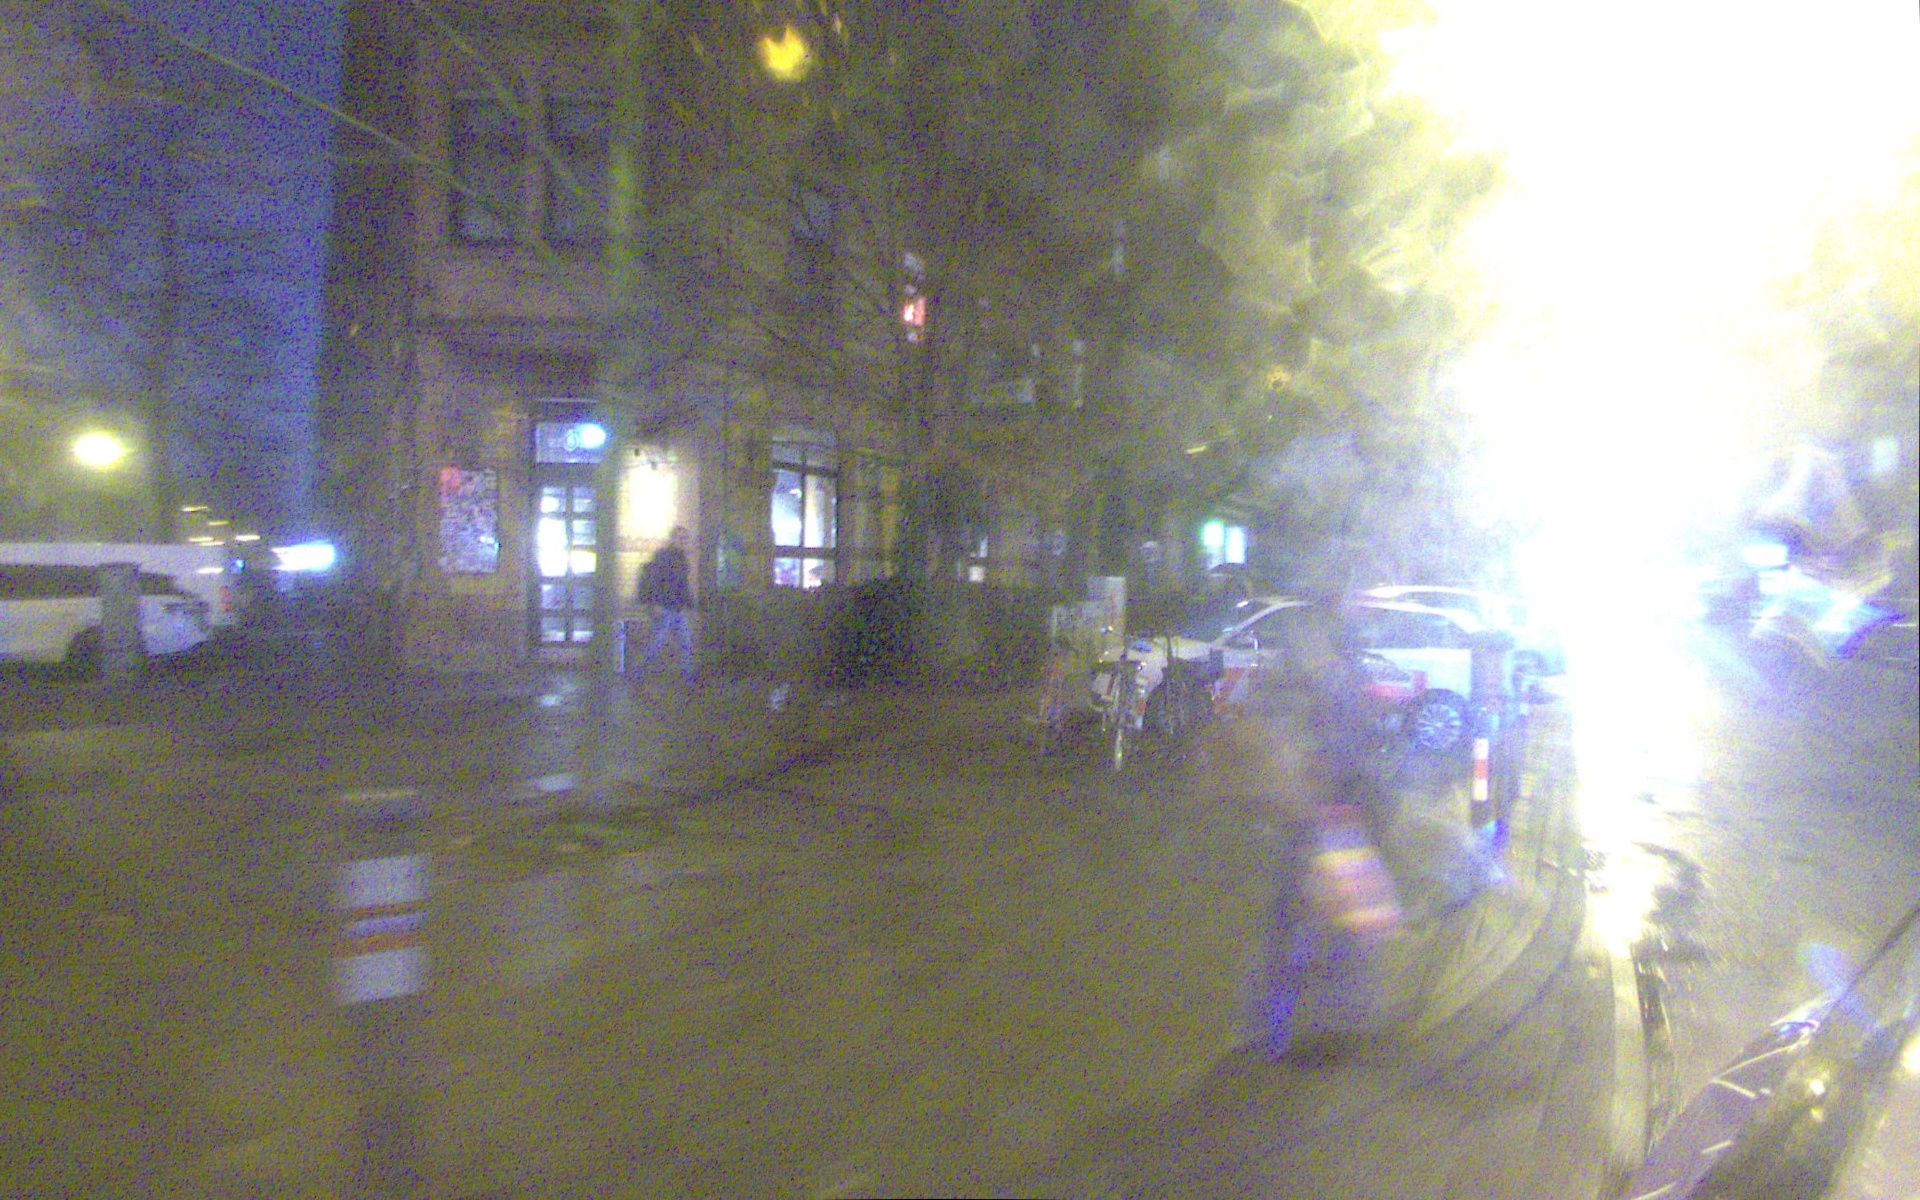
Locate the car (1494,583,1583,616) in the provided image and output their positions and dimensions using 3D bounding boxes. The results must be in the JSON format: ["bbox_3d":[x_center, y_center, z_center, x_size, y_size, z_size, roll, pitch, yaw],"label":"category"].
[{"bbox_3d":[32.044,-0.044,56.159,3.870,1.581,1.707,3,2,9],"label":"car"}]

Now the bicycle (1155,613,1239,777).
[{"bbox_3d":[1.866,0.698,8.127,0.330,1.038,1.647,0,4,2],"label":"bicycle"}]

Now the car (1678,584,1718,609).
[{"bbox_3d":[48.646,-0.210,66.752,1.838,1.600,3.693,-1,0,32],"label":"car"}]

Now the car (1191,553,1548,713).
[{"bbox_3d":[5.007,0.363,12.742,3.667,1.733,1.773,2,1,-2],"label":"car"}]

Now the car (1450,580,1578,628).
[{"bbox_3d":[21.286,0.119,39.029,3.871,1.639,1.706,3,2,11],"label":"car"}]

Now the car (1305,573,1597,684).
[{"bbox_3d":[8.228,0.432,17.285,4.000,1.617,1.832,2,2,5],"label":"car"}]

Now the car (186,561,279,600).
[{"bbox_3d":[-39.437,-1.035,54.968,3.921,2.039,2.002,0,0,-31],"label":"car"}]

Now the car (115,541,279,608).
[{"bbox_3d":[-24.410,-0.806,32.572,3.920,2.039,2.002,-1,0,-29],"label":"car"}]

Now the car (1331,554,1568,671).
[{"bbox_3d":[9.453,0.212,19.734,3.667,2.053,1.723,2,1,-3],"label":"car"}]

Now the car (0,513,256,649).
[{"bbox_3d":[-13.832,-0.272,15.106,5.442,1.914,2.000,0,0,-35],"label":"car"}]

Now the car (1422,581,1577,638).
[{"bbox_3d":[16.943,0.268,31.900,3.858,1.569,1.744,2,2,-1],"label":"car"}]

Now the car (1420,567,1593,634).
[{"bbox_3d":[18.376,-0.015,34.224,4.626,2.004,1.978,2,1,3],"label":"car"}]

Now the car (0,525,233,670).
[{"bbox_3d":[-12.529,-0.033,13.108,5.000,1.785,2.000,0,0,-35],"label":"car"}]

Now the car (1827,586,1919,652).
[{"bbox_3d":[22.721,0.419,24.839,1.709,1.497,3.740,-1,0,34],"label":"car"}]

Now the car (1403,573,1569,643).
[{"bbox_3d":[15.216,0.208,29.388,3.855,1.815,1.745,2,1,-5],"label":"car"}]

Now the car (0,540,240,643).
[{"bbox_3d":[-16.234,-0.162,19.006,4.378,1.785,2.000,0,0,-35],"label":"car"}]

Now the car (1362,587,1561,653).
[{"bbox_3d":[12.078,0.460,24.539,3.978,1.471,1.680,1,1,-2],"label":"car"}]

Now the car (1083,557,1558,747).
[{"bbox_3d":[3.449,0.449,10.390,4.187,1.593,1.770,2,2,4],"label":"car"}]

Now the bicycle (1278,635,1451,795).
[{"bbox_3d":[3.128,0.847,7.989,0.329,1.039,1.650,2,1,-14],"label":"bicycle"}]

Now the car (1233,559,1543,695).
[{"bbox_3d":[6.168,0.347,14.881,3.720,1.733,1.750,2,1,-2],"label":"car"}]

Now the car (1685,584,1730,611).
[{"bbox_3d":[46.048,-0.180,62.405,1.838,1.600,3.693,-1,0,32],"label":"car"}]

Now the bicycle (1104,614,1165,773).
[{"bbox_3d":[1.385,0.689,8.169,0.330,1.106,1.644,2,1,6],"label":"bicycle"}]

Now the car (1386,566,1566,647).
[{"bbox_3d":[13.770,0.151,27.124,3.855,1.966,1.745,2,1,-5],"label":"car"}]

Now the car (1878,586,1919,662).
[{"bbox_3d":[20.116,0.479,20.208,1.706,1.497,4.118,0,1,29],"label":"car"}]

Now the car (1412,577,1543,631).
[{"bbox_3d":[18.900,0.120,37.127,3.871,1.763,1.706,3,2,11],"label":"car"}]

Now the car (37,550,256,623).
[{"bbox_3d":[-21.374,-0.341,26.858,4.378,1.785,2.000,0,0,-35],"label":"car"}]

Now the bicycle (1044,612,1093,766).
[{"bbox_3d":[0.880,0.669,8.295,0.330,1.039,1.644,2,2,6],"label":"bicycle"}]

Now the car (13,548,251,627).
[{"bbox_3d":[-20.163,-0.303,24.935,4.378,1.785,2.000,0,0,-35],"label":"car"}]

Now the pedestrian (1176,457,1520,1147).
[{"bbox_3d":[1.188,0.520,3.135,0.826,1.793,0.590,0,0,45],"label":"pedestrian"}]

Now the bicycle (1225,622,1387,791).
[{"bbox_3d":[2.629,0.765,7.874,0.329,1.039,1.650,2,3,-12],"label":"bicycle"}]

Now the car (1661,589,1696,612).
[{"bbox_3d":[52.410,0.006,73.868,1.838,1.600,3.693,-1,0,32],"label":"car"}]

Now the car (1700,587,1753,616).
[{"bbox_3d":[39.863,0.064,52.712,1.838,1.497,3.693,-1,0,32],"label":"car"}]

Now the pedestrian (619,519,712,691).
[{"bbox_3d":[-3.320,0.034,11.389,0.795,1.839,0.792,-1,2,-33],"label":"pedestrian"}]

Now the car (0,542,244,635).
[{"bbox_3d":[-17.673,-0.229,21.146,4.378,1.785,2.000,0,0,-35],"label":"car"}]
